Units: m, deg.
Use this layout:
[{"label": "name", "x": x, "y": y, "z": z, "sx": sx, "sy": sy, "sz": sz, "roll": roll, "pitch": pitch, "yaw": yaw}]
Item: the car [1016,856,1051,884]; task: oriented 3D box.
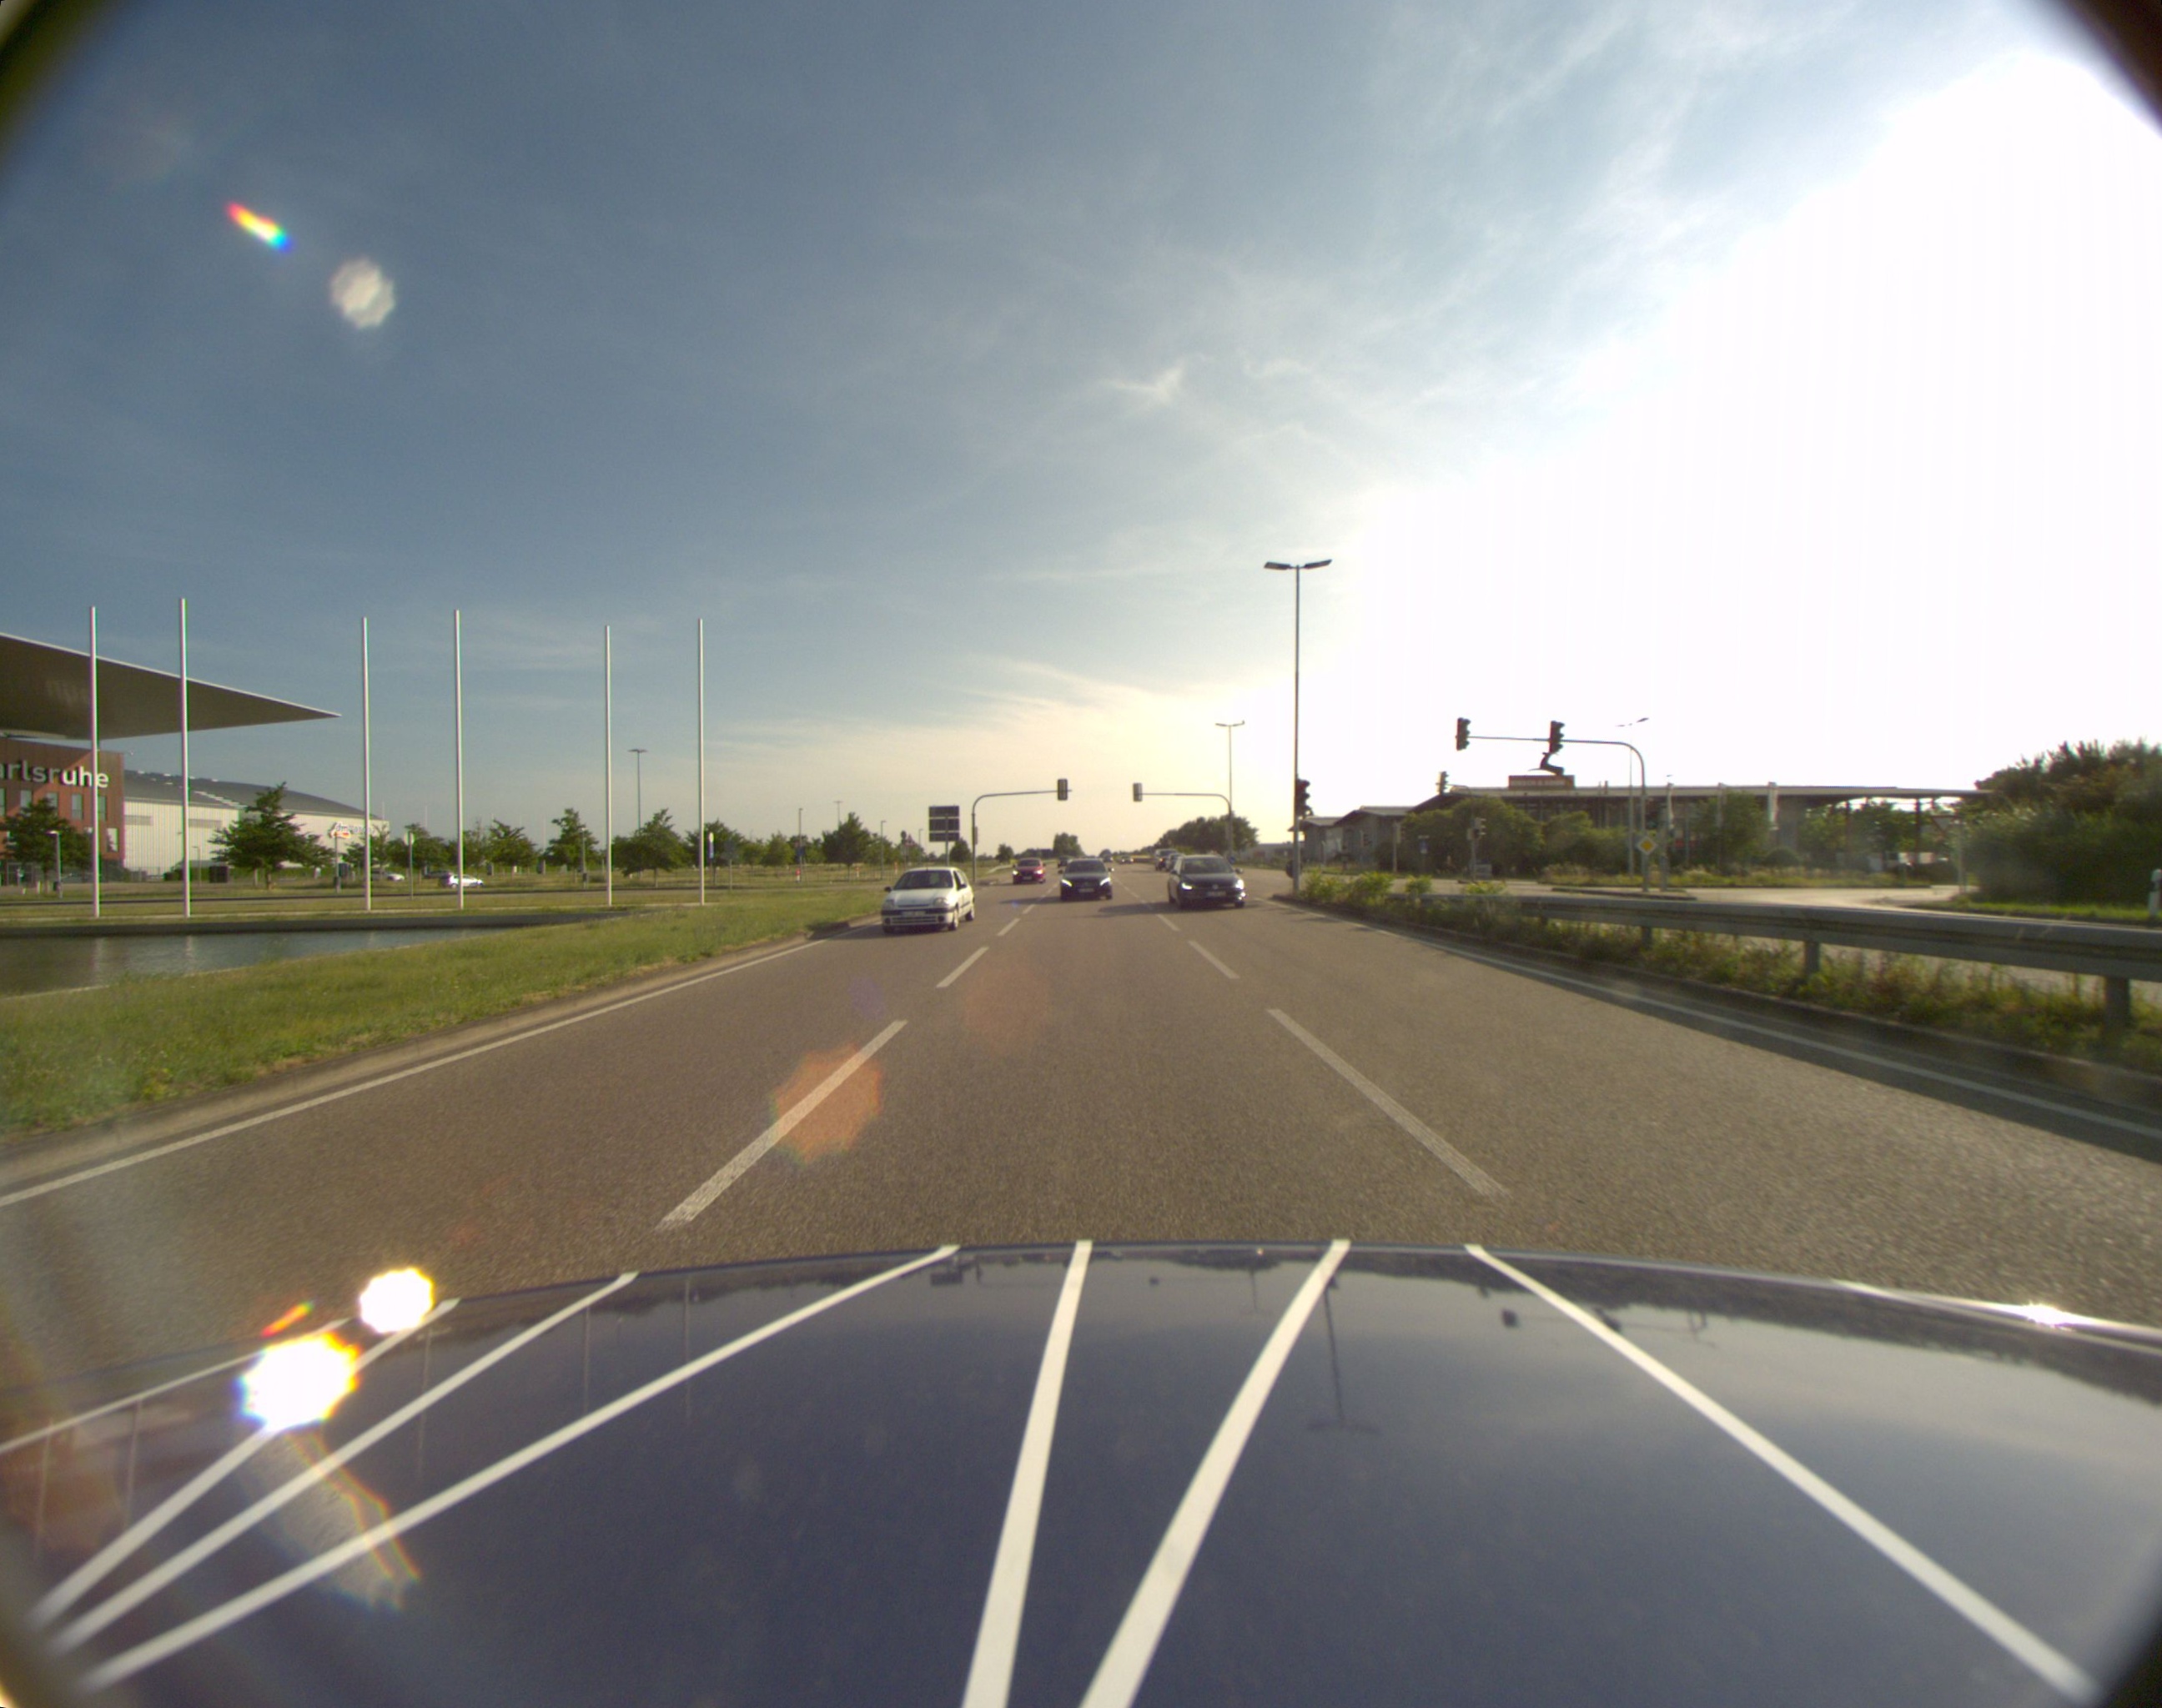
[{"label": "car", "x": -2.772, "y": 0.913, "z": 45.120, "sx": 1.751, "sy": 1.512, "sz": 3.739, "roll": -2, "pitch": 0, "yaw": 1}]

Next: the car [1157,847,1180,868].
[{"label": "car", "x": 7.784, "y": 0.298, "z": 67.950, "sx": 1.650, "sy": 1.823, "sz": 4.226, "roll": -2, "pitch": 0, "yaw": 1}]

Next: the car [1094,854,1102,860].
[{"label": "car", "x": 3.936, "y": 0.680, "z": 179.654, "sx": 1.751, "sy": 1.512, "sz": 3.739, "roll": -2, "pitch": 0, "yaw": -1}]

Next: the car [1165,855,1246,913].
[{"label": "car", "x": 3.527, "y": 0.793, "z": 22.295, "sx": 1.650, "sy": 1.462, "sz": 4.776, "roll": -1, "pitch": 0, "yaw": 1}]

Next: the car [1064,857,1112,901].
[{"label": "car", "x": 0.284, "y": 0.860, "z": 28.166, "sx": 1.576, "sy": 1.462, "sz": 5.022, "roll": -1, "pitch": 0, "yaw": 1}]

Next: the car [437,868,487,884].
[{"label": "car", "x": -62.715, "y": 2.191, "z": 77.039, "sx": 1.709, "sy": 1.447, "sz": 3.568, "roll": -2, "pitch": 0, "yaw": 12}]

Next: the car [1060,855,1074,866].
[{"label": "car", "x": -1.947, "y": 0.898, "z": 105.345, "sx": 1.751, "sy": 1.512, "sz": 3.739, "roll": -2, "pitch": 0, "yaw": 1}]

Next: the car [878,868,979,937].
[{"label": "car", "x": -3.452, "y": 1.055, "z": 17.767, "sx": 1.578, "sy": 1.371, "sz": 3.452, "roll": -2, "pitch": 0, "yaw": 1}]

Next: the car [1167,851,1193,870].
[{"label": "car", "x": 8.028, "y": 0.506, "z": 61.795, "sx": 1.711, "sy": 1.428, "sz": 3.565, "roll": -2, "pitch": 0, "yaw": 1}]

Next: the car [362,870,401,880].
[{"label": "car", "x": -103.080, "y": 3.070, "z": 111.935, "sx": 4.209, "sy": 1.272, "sz": 1.486, "roll": -2, "pitch": 0, "yaw": -2}]

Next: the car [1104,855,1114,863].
[{"label": "car", "x": 5.517, "y": 0.947, "z": 149.624, "sx": 1.751, "sy": 1.512, "sz": 3.739, "roll": -2, "pitch": 0, "yaw": -1}]

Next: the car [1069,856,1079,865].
[{"label": "car", "x": -1.247, "y": 1.142, "z": 139.754, "sx": 1.751, "sy": 1.512, "sz": 3.739, "roll": -2, "pitch": 0, "yaw": 1}]
